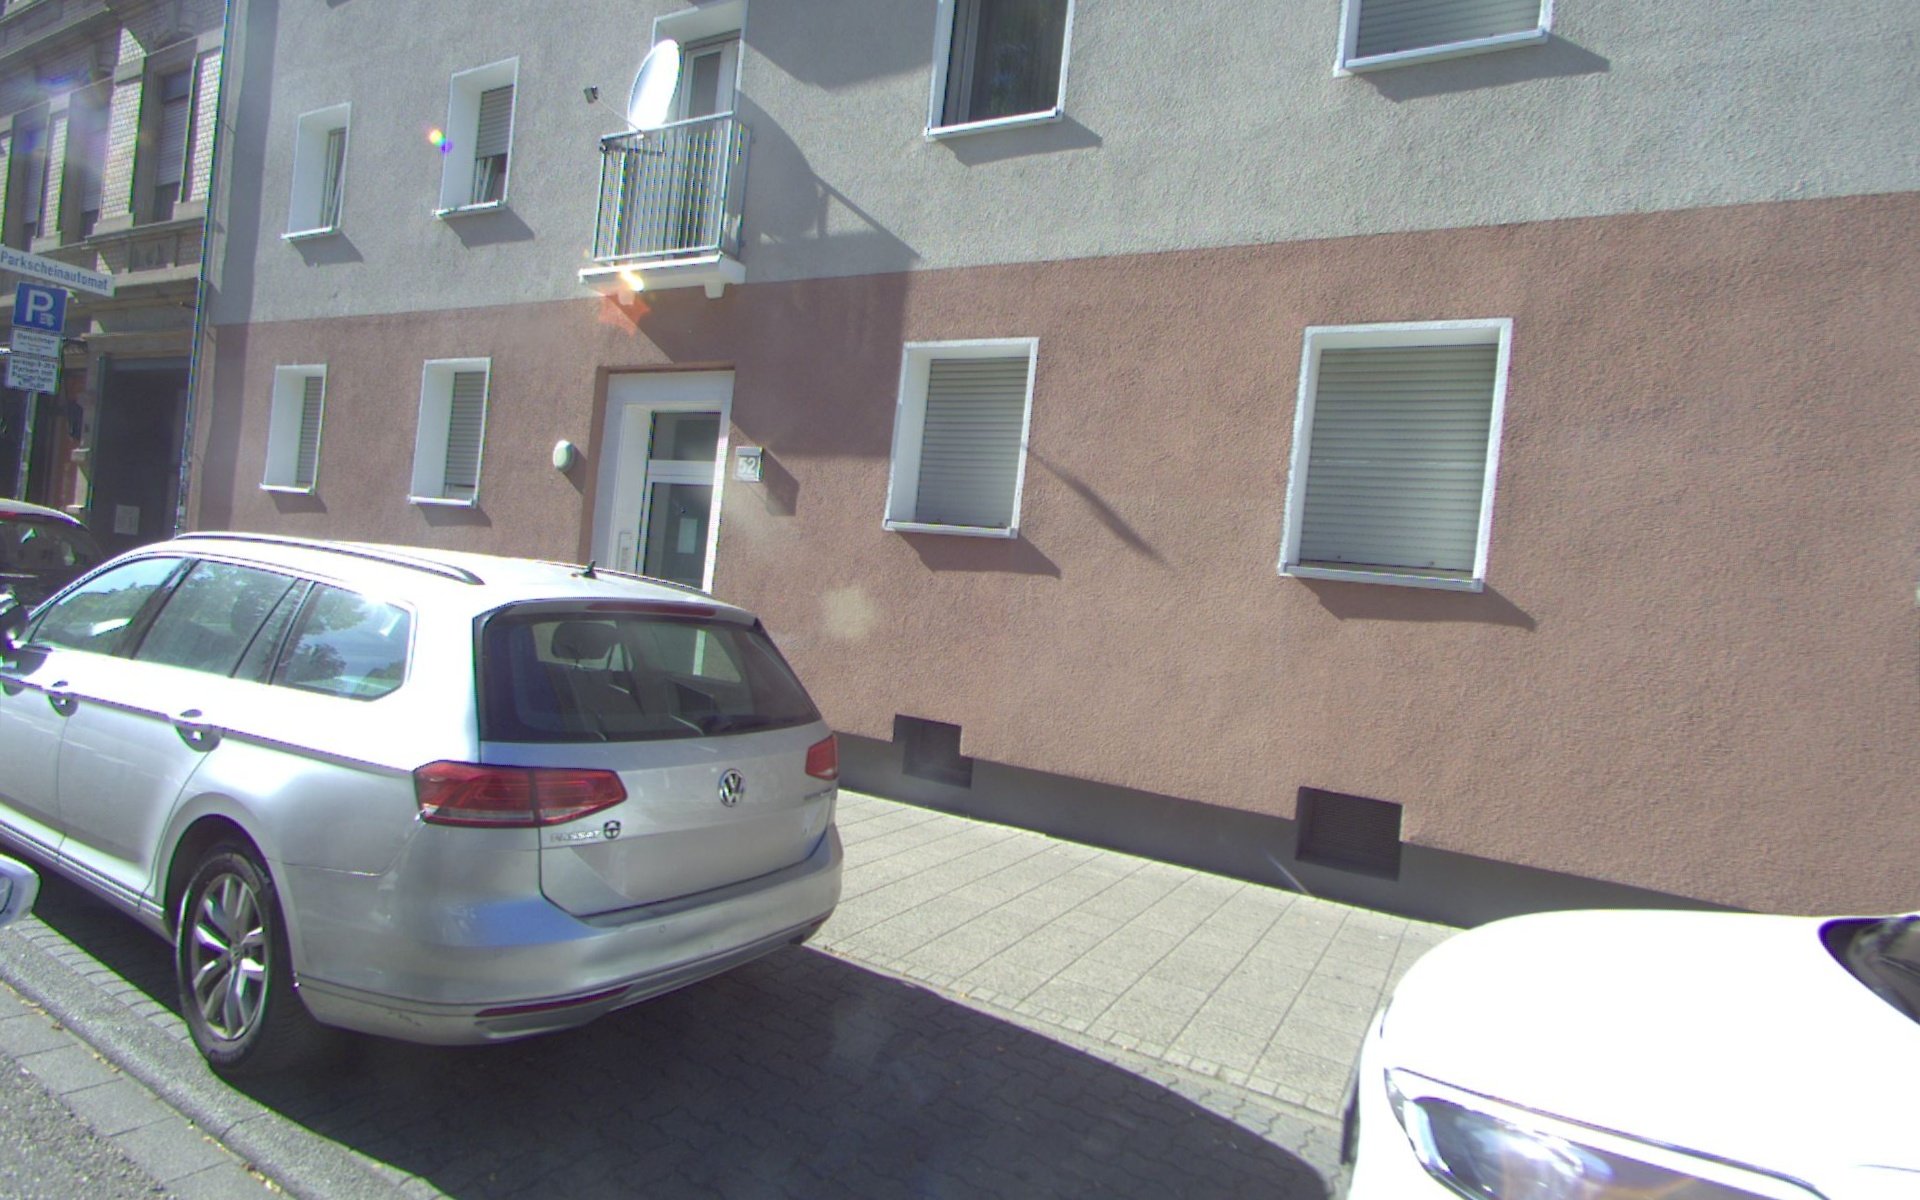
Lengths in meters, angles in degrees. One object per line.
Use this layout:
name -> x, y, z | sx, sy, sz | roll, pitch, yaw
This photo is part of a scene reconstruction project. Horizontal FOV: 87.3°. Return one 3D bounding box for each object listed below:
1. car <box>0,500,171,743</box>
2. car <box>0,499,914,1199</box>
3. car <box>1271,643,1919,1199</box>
car -> -7.492, -0.028, 7.084 | 3.647, 1.498, 1.712 | 6, 0, 30
car -> -2.569, 0.472, 4.010 | 4.442, 1.478, 1.787 | 6, 1, 32
car -> 2.548, 1.025, 1.488 | 3.729, 1.505, 1.733 | 6, 1, 29
